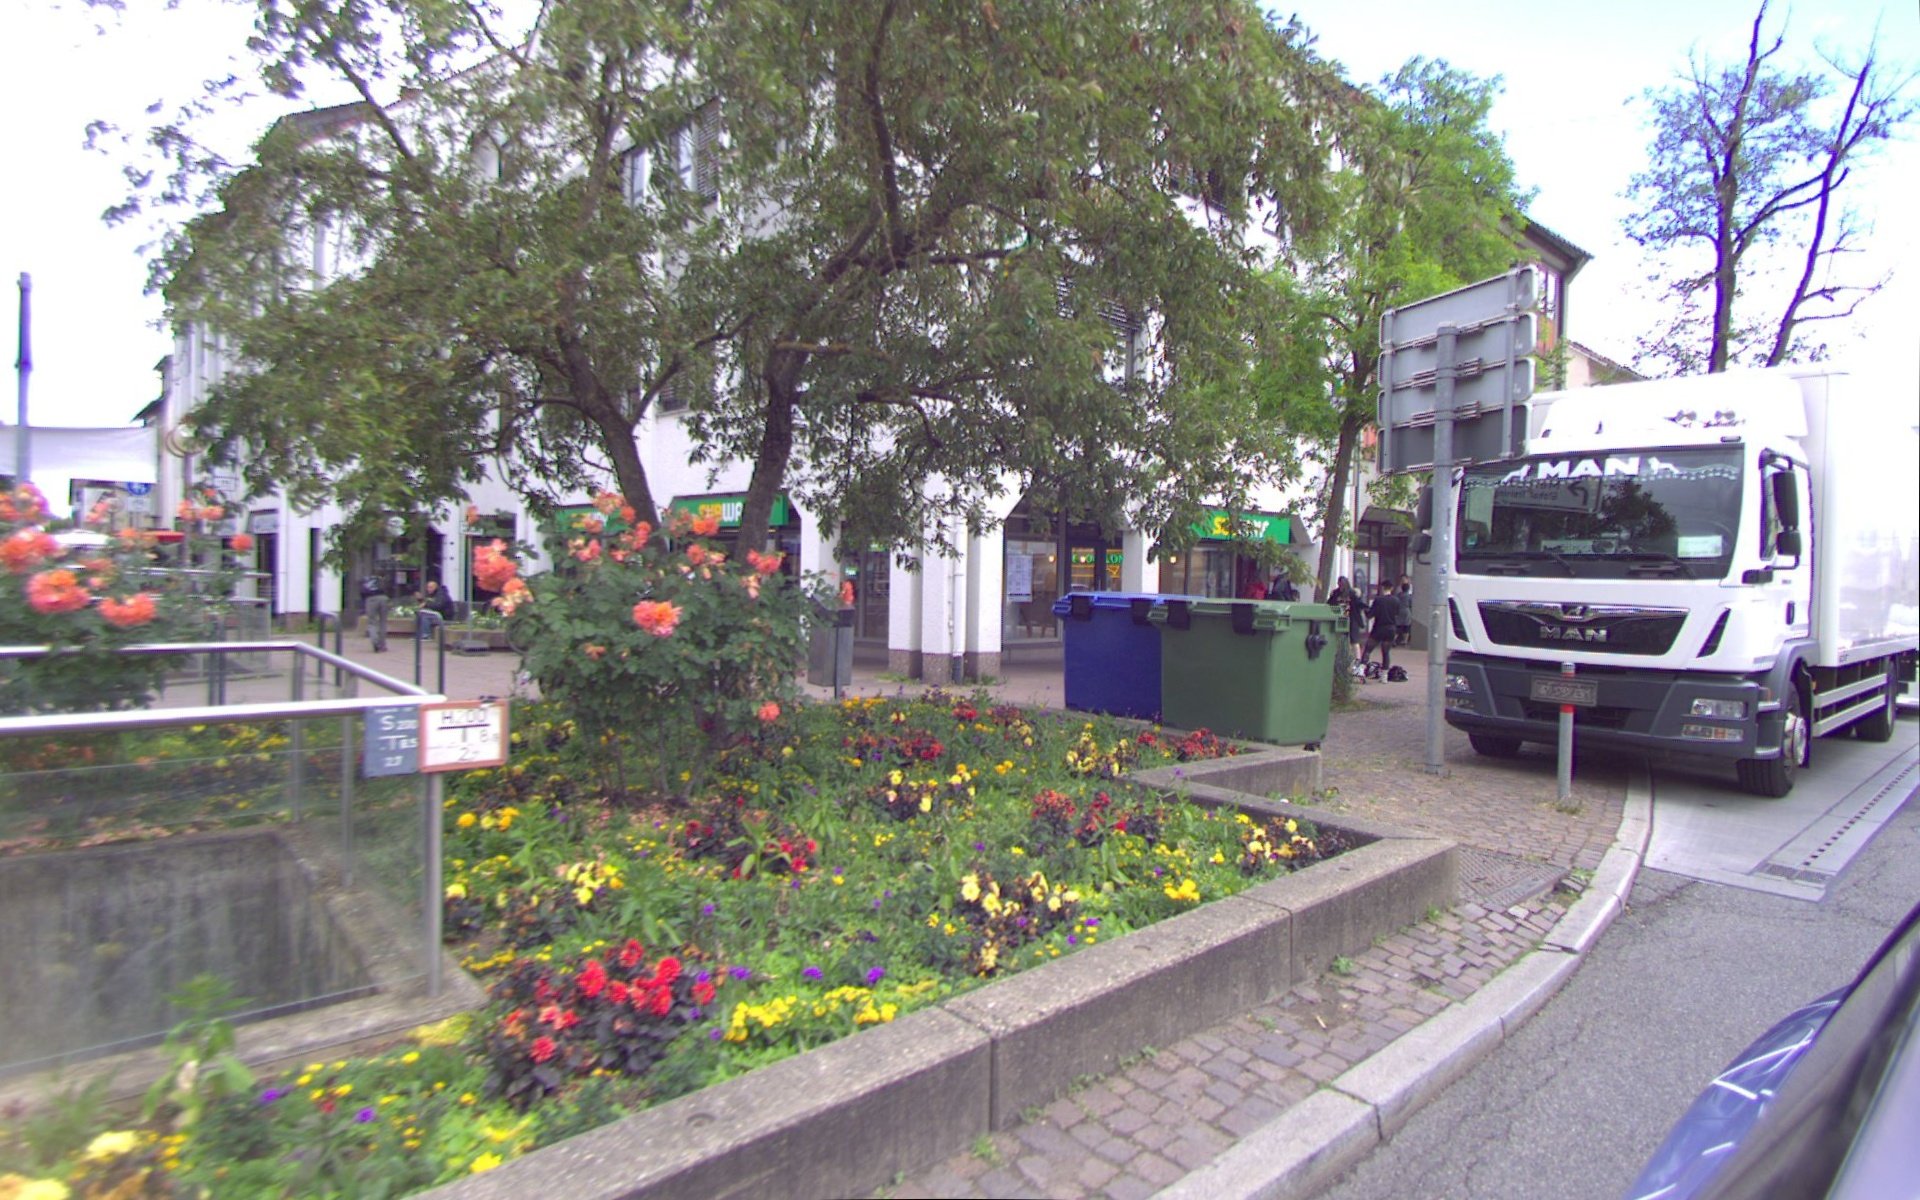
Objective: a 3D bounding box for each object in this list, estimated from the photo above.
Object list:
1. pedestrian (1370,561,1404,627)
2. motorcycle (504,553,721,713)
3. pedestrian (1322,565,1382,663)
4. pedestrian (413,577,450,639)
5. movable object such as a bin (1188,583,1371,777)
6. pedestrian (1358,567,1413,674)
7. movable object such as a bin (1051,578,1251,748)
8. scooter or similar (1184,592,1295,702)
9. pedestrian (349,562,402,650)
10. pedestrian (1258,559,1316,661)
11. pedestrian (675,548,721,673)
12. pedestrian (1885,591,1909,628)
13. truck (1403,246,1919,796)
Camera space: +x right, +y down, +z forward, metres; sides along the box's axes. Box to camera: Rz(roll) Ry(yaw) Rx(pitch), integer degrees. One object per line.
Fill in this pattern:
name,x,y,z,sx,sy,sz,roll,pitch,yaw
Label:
pedestrian,10.750,-0.162,25.496,0.737,1.622,0.570,2,1,21
motorcycle,-3.428,0.292,10.100,1.913,1.456,0.721,0,1,-43
pedestrian,6.702,0.225,17.311,0.564,1.622,0.744,1,1,-44
pedestrian,-10.777,0.156,20.637,0.504,1.215,0.619,1,1,-43
movable object such as a bin,2.474,0.562,7.847,1.066,1.356,0.883,1,1,-39
pedestrian,6.663,0.301,15.872,0.737,1.622,0.570,2,1,21
movable object such as a bin,1.709,0.502,9.070,1.351,1.356,1.146,1,1,-39
scooter or similar,3.309,0.530,12.019,1.174,1.211,0.454,2,1,41
pedestrian,-10.249,0.094,17.744,0.605,1.494,0.612,2,1,37
pedestrian,5.368,0.155,16.591,0.732,1.622,0.573,1,1,-40
pedestrian,-3.511,0.132,13.594,0.502,1.622,0.621,1,1,-7
pedestrian,43.205,0.428,46.652,0.605,1.654,0.719,0,2,-44
truck,8.305,-0.535,10.851,9.597,3.606,2.693,0,1,-42
